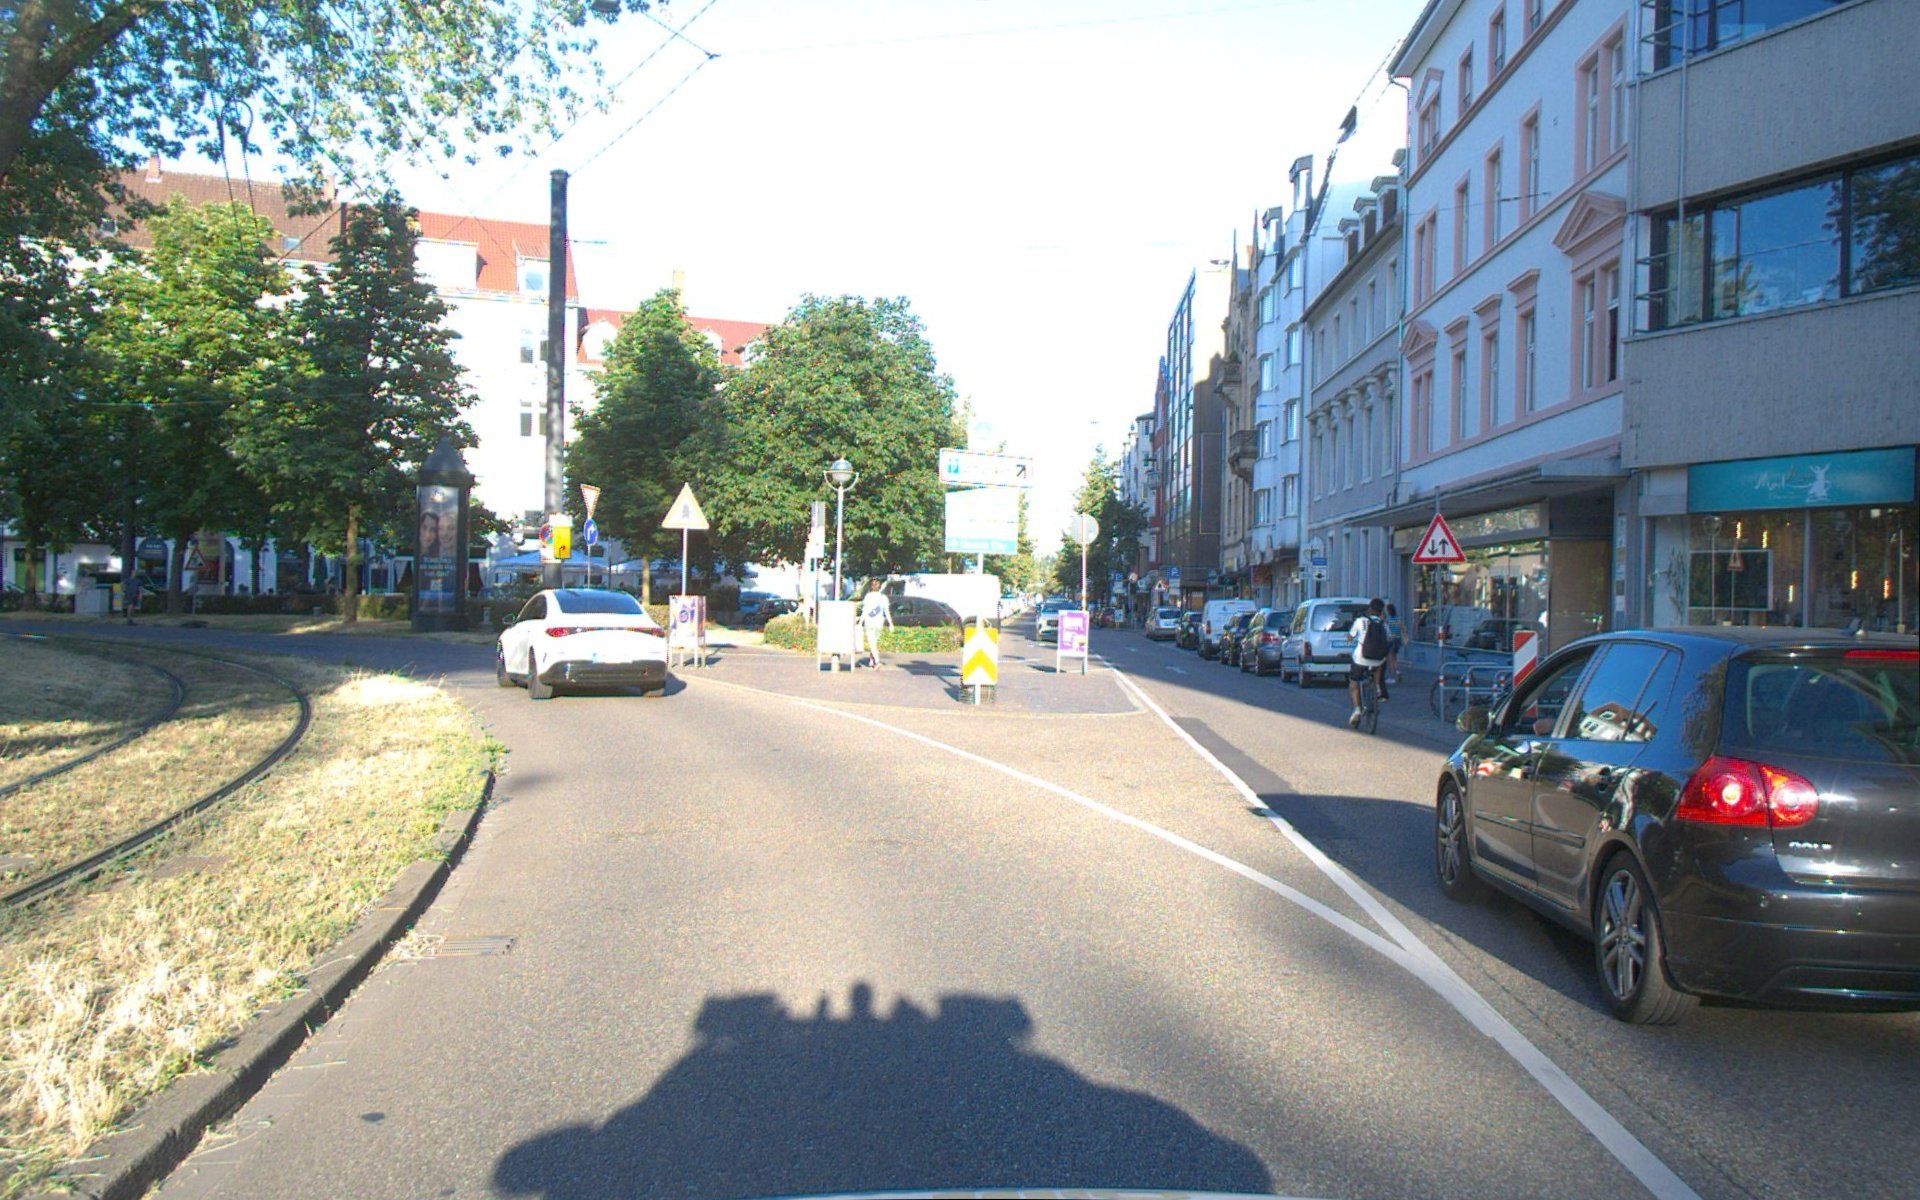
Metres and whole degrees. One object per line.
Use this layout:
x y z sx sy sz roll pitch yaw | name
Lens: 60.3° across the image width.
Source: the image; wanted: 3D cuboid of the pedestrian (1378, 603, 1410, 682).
9.253 0.894 35.285 0.491 1.653 0.497 2 0 2 | pedestrian

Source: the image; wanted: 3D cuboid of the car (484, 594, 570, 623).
-21.352 0.421 81.602 3.929 1.324 1.841 2 -1 -21 | car

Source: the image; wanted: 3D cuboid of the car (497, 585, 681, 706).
-5.353 0.566 23.496 1.840 1.466 4.167 -1 2 -23 | car

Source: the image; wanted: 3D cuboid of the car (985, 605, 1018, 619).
4.527 1.319 181.366 3.319 1.310 1.667 3 0 -13 | car

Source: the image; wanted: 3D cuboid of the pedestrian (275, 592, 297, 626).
-27.737 0.366 68.056 0.654 1.376 0.658 2 -1 -10 | pedestrian

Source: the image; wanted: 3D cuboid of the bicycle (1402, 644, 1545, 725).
7.197 1.167 23.216 1.814 1.064 0.579 -1 0 33 | bicycle

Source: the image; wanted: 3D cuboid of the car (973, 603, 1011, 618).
3.041 1.020 159.229 3.319 1.310 1.667 3 0 -13 | car

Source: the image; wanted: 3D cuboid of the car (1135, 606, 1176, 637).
9.784 1.057 82.794 1.715 1.537 3.546 0 0 1 | car

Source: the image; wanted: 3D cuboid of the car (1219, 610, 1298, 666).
8.280 1.027 46.168 1.698 1.488 3.586 0 0 2 | car

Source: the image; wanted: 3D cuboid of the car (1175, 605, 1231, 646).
9.556 0.995 65.399 1.715 1.537 3.975 0 0 1 | car

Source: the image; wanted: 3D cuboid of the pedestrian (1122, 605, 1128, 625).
15.966 1.470 160.025 0.520 1.957 0.542 2 -1 1 | pedestrian

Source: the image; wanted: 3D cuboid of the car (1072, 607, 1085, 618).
16.561 1.762 231.406 1.715 1.537 3.546 0 0 1 | car

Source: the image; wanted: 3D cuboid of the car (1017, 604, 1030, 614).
8.489 1.226 220.783 1.632 1.310 3.390 2 0 4 | car

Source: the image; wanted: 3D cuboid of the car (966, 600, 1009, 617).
2.357 0.761 142.719 3.319 1.310 1.667 3 0 -13 | car

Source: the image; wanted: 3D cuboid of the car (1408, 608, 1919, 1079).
3.357 0.813 7.380 1.711 1.486 4.104 2 0 2 | car

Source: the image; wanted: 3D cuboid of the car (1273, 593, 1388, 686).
7.706 0.793 34.713 1.698 1.831 3.917 0 0 2 | car

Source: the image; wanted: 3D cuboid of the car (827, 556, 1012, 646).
-1.286 0.065 52.633 5.438 2.640 2.139 2 -1 -24 | car

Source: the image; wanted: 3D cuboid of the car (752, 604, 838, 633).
-8.262 0.906 82.843 3.929 1.324 1.841 2 -1 -21 | car

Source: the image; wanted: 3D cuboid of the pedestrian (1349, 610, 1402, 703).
7.222 0.972 28.757 0.619 1.582 0.736 2 -1 -11 | pedestrian

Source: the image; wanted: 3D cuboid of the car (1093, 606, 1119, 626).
11.074 1.214 125.838 1.715 1.537 3.546 0 0 1 | car

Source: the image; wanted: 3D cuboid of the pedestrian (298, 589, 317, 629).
-25.247 0.349 64.002 0.524 1.524 0.658 2 -1 -9 | pedestrian

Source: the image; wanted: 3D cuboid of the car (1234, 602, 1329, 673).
7.756 0.886 40.219 1.698 1.645 3.917 0 0 2 | car

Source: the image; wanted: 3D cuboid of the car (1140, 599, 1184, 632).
9.613 0.714 78.867 1.715 1.537 3.546 0 0 1 | car

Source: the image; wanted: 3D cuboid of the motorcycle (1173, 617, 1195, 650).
8.375 1.251 61.805 0.477 1.195 1.606 -1 0 -5 | motorcycle

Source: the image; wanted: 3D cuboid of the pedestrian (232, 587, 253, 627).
-27.701 0.281 63.850 0.524 1.524 0.658 2 -1 -9 | pedestrian

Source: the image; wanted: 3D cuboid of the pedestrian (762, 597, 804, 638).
-5.699 0.565 53.163 1.082 1.248 0.854 3 -1 -24 | pedestrian

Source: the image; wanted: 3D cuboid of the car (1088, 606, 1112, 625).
11.582 1.287 136.882 1.715 1.537 3.546 0 0 1 | car

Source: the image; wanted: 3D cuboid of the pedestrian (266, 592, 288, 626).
-27.685 0.364 67.058 0.654 1.376 0.658 2 -1 -10 | pedestrian

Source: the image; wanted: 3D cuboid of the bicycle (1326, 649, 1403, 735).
5.287 1.185 21.694 0.567 1.004 1.936 2 0 2 | bicycle

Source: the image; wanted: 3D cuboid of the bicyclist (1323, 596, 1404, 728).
5.280 0.797 21.691 0.761 1.646 1.025 2 -1 1 | bicyclist

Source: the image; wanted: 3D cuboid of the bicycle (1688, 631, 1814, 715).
11.199 1.032 23.444 0.511 1.138 1.501 -1 -1 -41 | bicycle

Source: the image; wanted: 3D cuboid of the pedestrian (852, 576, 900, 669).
-1.616 0.428 31.913 0.842 1.736 0.940 2 -1 -4 | pedestrian

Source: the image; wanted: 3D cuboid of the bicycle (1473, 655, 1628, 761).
6.820 1.230 19.131 1.575 1.138 0.610 -1 0 36 | bicycle

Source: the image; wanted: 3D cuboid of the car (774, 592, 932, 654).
-2.935 0.627 45.623 3.946 1.579 1.859 2 -1 -31 | car

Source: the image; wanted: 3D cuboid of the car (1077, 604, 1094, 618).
14.331 1.259 189.325 1.715 1.537 3.546 0 0 1 | car

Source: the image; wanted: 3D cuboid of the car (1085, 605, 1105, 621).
12.895 1.249 158.424 1.715 1.537 3.546 0 0 1 | car

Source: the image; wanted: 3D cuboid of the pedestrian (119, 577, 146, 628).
-26.401 0.071 52.781 0.584 1.594 0.558 2 -1 42 | pedestrian

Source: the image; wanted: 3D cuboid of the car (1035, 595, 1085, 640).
4.240 0.712 70.646 1.952 1.803 4.001 2 0 2 | car

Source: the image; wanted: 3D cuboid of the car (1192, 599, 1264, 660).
8.486 0.907 52.672 1.885 1.873 4.019 0 0 3 | car

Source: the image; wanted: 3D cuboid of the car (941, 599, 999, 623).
0.613 0.680 102.594 3.319 1.310 1.667 3 0 -13 | car

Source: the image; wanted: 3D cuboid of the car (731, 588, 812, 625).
-10.002 0.350 87.673 3.929 1.813 1.841 2 -1 -21 | car
